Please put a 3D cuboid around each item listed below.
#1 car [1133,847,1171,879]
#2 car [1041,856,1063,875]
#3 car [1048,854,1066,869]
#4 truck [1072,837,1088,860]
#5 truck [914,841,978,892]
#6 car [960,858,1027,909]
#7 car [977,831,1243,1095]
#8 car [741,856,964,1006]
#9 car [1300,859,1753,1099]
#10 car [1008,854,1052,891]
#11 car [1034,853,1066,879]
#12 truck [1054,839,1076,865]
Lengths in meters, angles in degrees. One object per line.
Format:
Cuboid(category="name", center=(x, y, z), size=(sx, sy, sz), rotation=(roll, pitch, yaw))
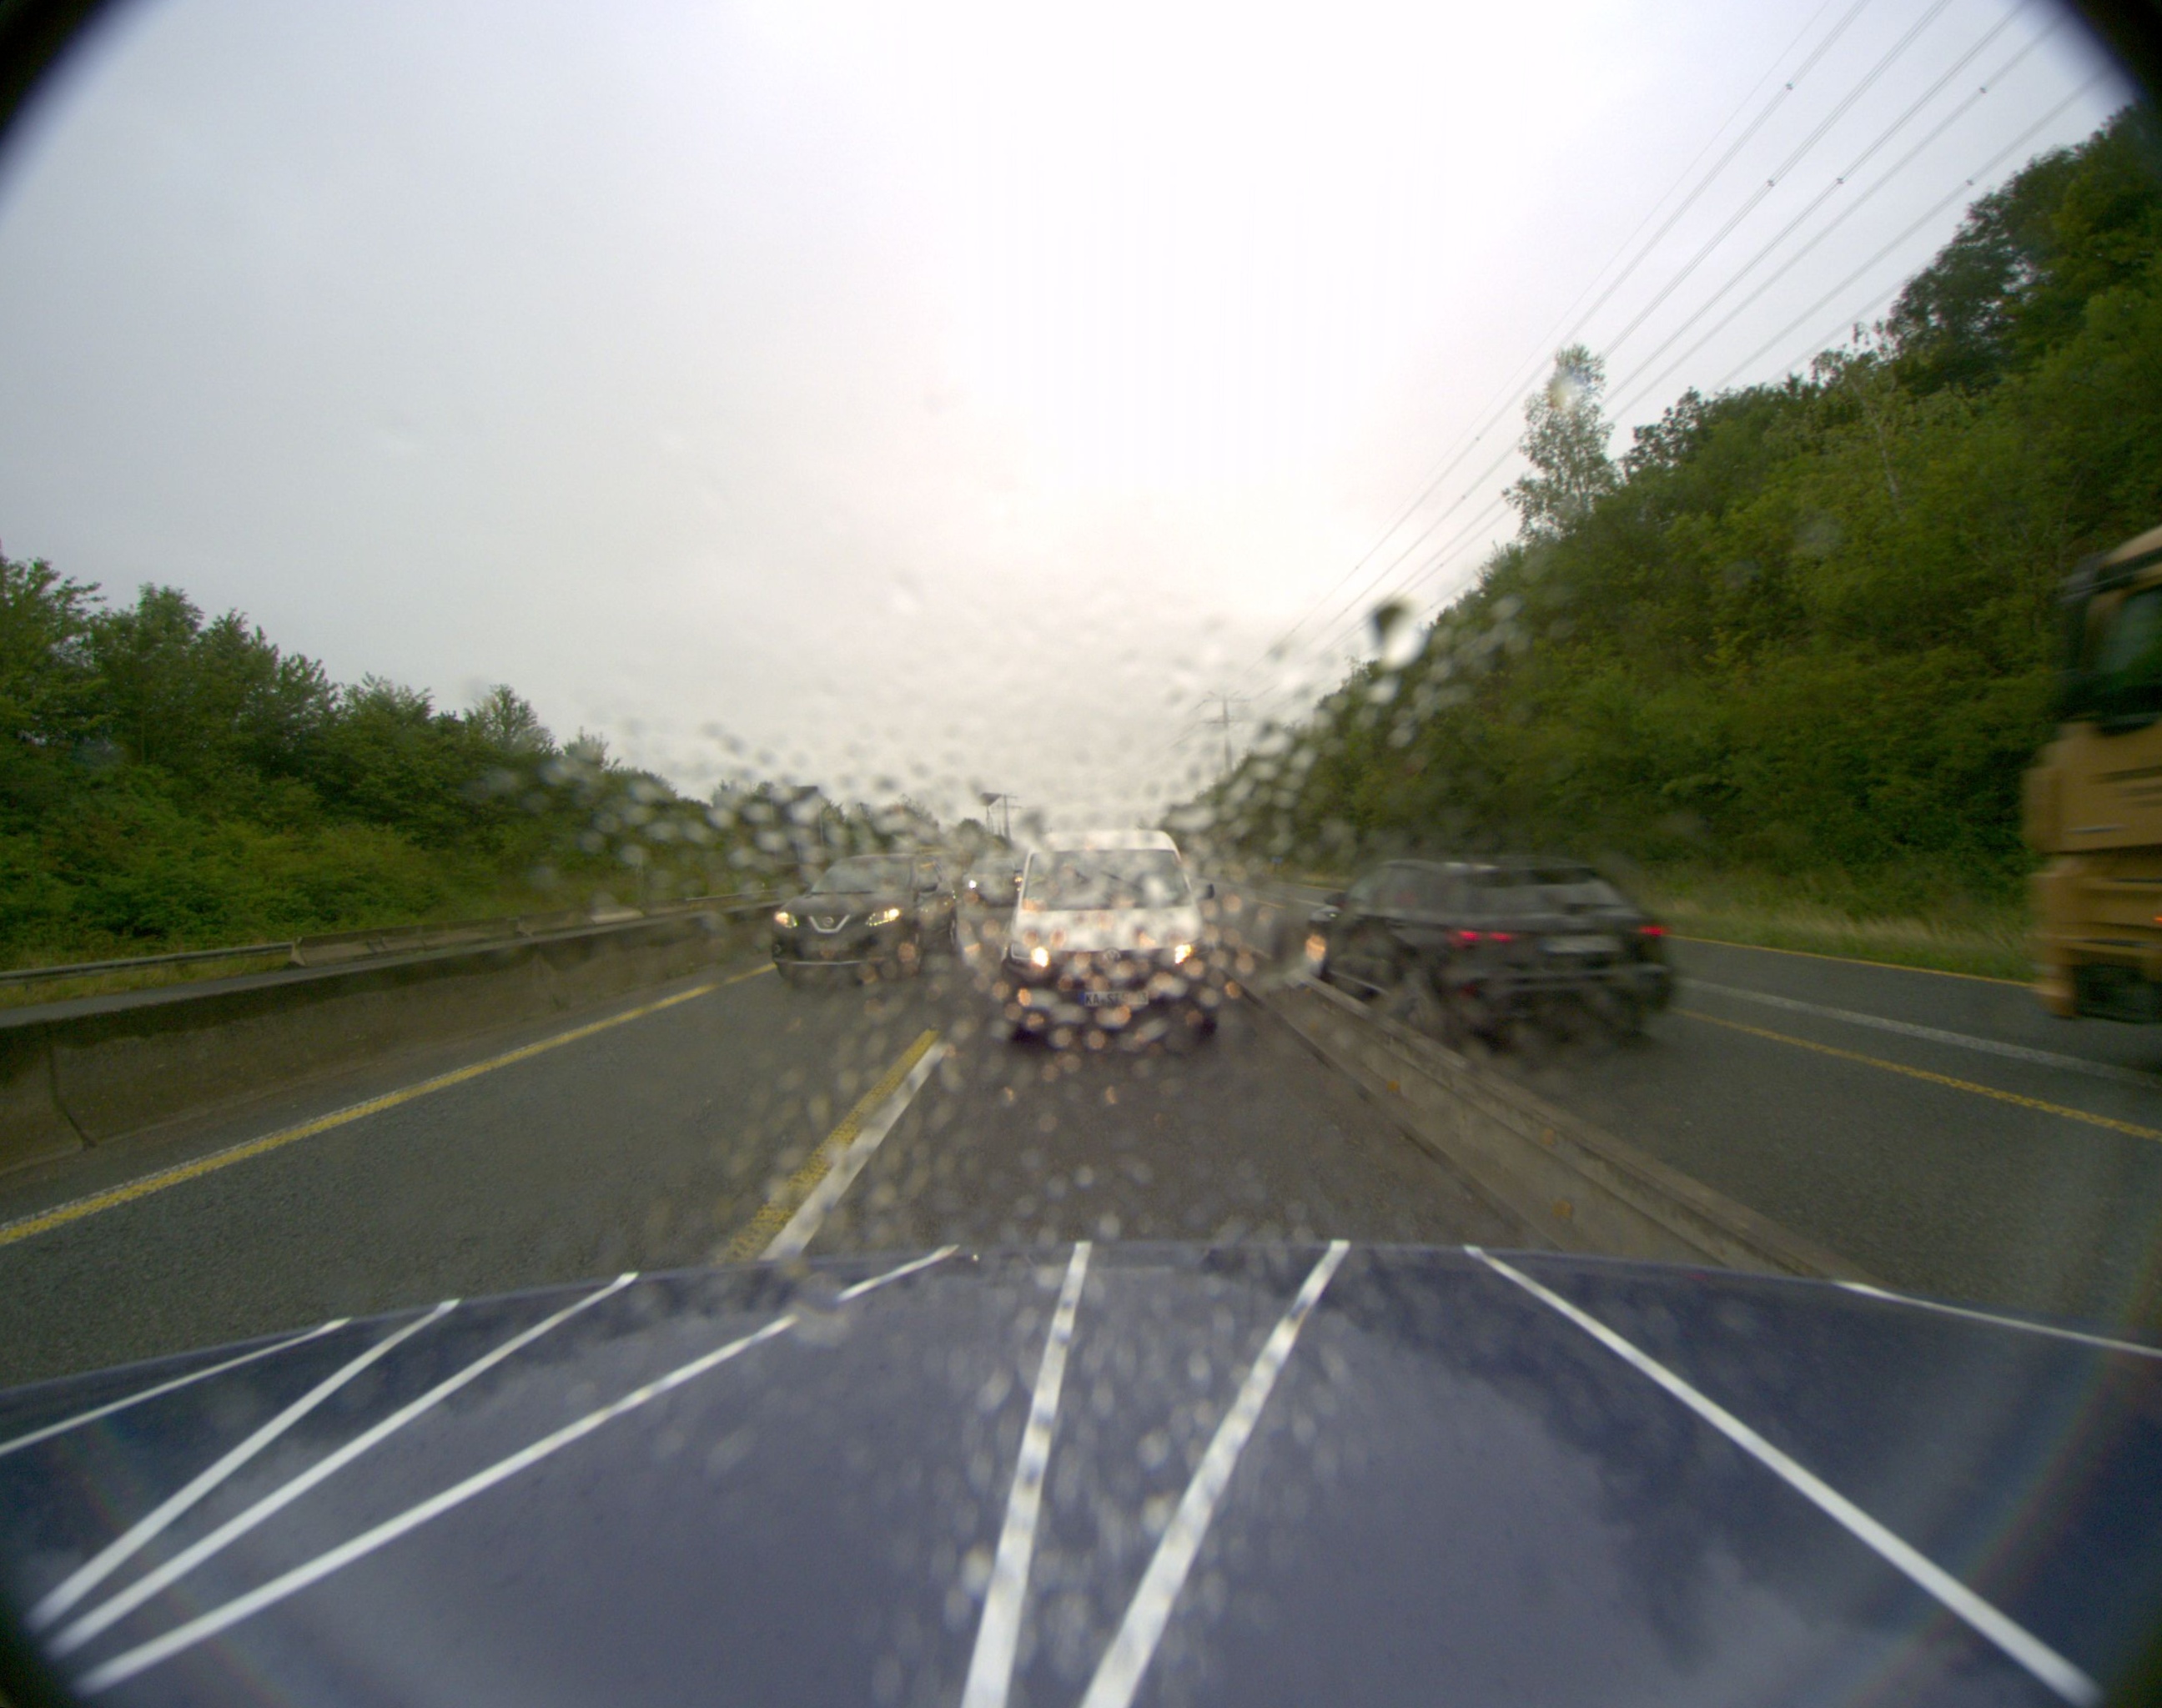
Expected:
Cuboid(category="car", center=(4.352, 0.495, 47.327), size=(1.815, 1.813, 4.634), rotation=(-2, 1, -1))
Cuboid(category="car", center=(-2.534, 0.958, 66.701), size=(1.784, 1.482, 4.123), rotation=(-2, 1, 0))
Cuboid(category="car", center=(-2.485, 0.790, 80.411), size=(1.784, 1.482, 4.123), rotation=(-2, 1, 0))
Cuboid(category="truck", center=(-0.197, -1.025, 137.973), size=(2.619, 3.869, 9.574), rotation=(-2, 1, 0))
Cuboid(category="truck", center=(-9.817, 0.800, 56.505), size=(2.619, 3.404, 9.575), rotation=(-2, 1, 2))
Cuboid(category="car", center=(-2.893, 0.947, 25.898), size=(1.784, 1.482, 4.123), rotation=(-2, 1, 0))
Cuboid(category="car", center=(0.196, 0.734, 7.626), size=(1.784, 1.775, 4.697), rotation=(-2, 1, 0))
Cuboid(category="car", center=(-3.073, 0.925, 11.383), size=(1.894, 1.665, 4.640), rotation=(-2, 1, 0))
Cuboid(category="car", center=(3.411, 0.808, 6.802), size=(1.690, 1.401, 3.929), rotation=(-2, 1, -1))
Cuboid(category="car", center=(-2.395, 0.828, 36.617), size=(1.784, 1.589, 4.123), rotation=(-2, 1, 0))
Cuboid(category="car", center=(-1.887, 0.718, 47.613), size=(1.784, 1.482, 4.123), rotation=(-2, 1, 0))
Cuboid(category="truck", center=(-2.207, -0.312, 107.471), size=(2.619, 3.404, 9.575), rotation=(-2, 1, 2))
